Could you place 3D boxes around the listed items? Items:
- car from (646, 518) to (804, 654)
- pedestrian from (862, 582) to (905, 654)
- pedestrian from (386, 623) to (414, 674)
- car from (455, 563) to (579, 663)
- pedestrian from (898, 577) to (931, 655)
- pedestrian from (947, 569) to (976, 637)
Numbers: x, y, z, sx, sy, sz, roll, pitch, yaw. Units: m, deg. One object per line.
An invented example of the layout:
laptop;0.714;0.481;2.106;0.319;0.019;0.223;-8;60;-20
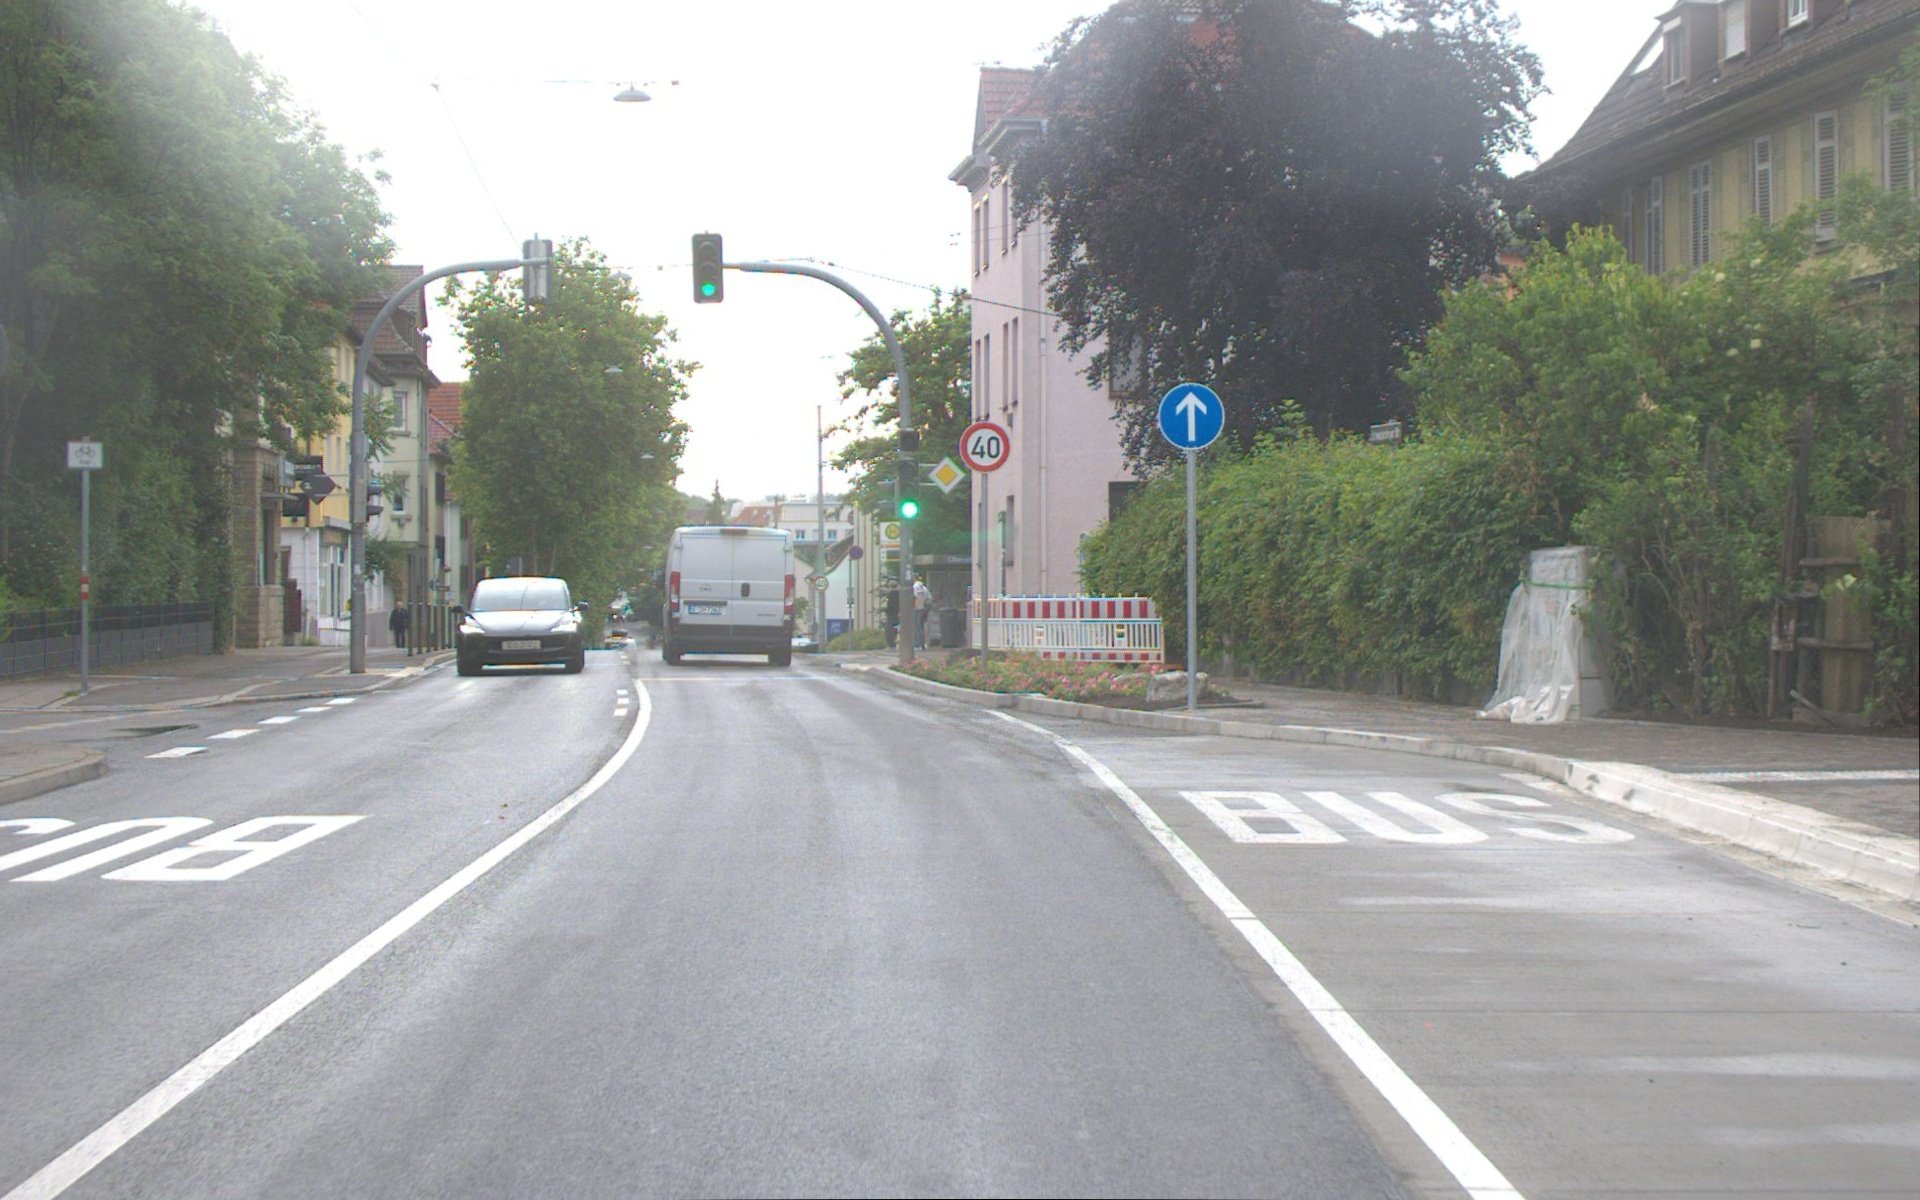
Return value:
car;-3.954;-0.227;57.075;2.346;2.153;4.778;0;0;-7
pedestrian;-1.840;0.440;82.686;0.634;1.704;0.749;-2;-1;-39
pedestrian;-18.508;1.609;113.636;0.815;1.674;0.993;1;-2;-8
car;-6.686;0.158;52.081;1.783;1.447;4.391;0;1;-7
pedestrian;-1.095;0.393;83.443;0.487;1.869;0.632;-3;-1;26
pedestrian;0.044;0.081;92.681;0.647;1.825;0.741;-1;-1;9
